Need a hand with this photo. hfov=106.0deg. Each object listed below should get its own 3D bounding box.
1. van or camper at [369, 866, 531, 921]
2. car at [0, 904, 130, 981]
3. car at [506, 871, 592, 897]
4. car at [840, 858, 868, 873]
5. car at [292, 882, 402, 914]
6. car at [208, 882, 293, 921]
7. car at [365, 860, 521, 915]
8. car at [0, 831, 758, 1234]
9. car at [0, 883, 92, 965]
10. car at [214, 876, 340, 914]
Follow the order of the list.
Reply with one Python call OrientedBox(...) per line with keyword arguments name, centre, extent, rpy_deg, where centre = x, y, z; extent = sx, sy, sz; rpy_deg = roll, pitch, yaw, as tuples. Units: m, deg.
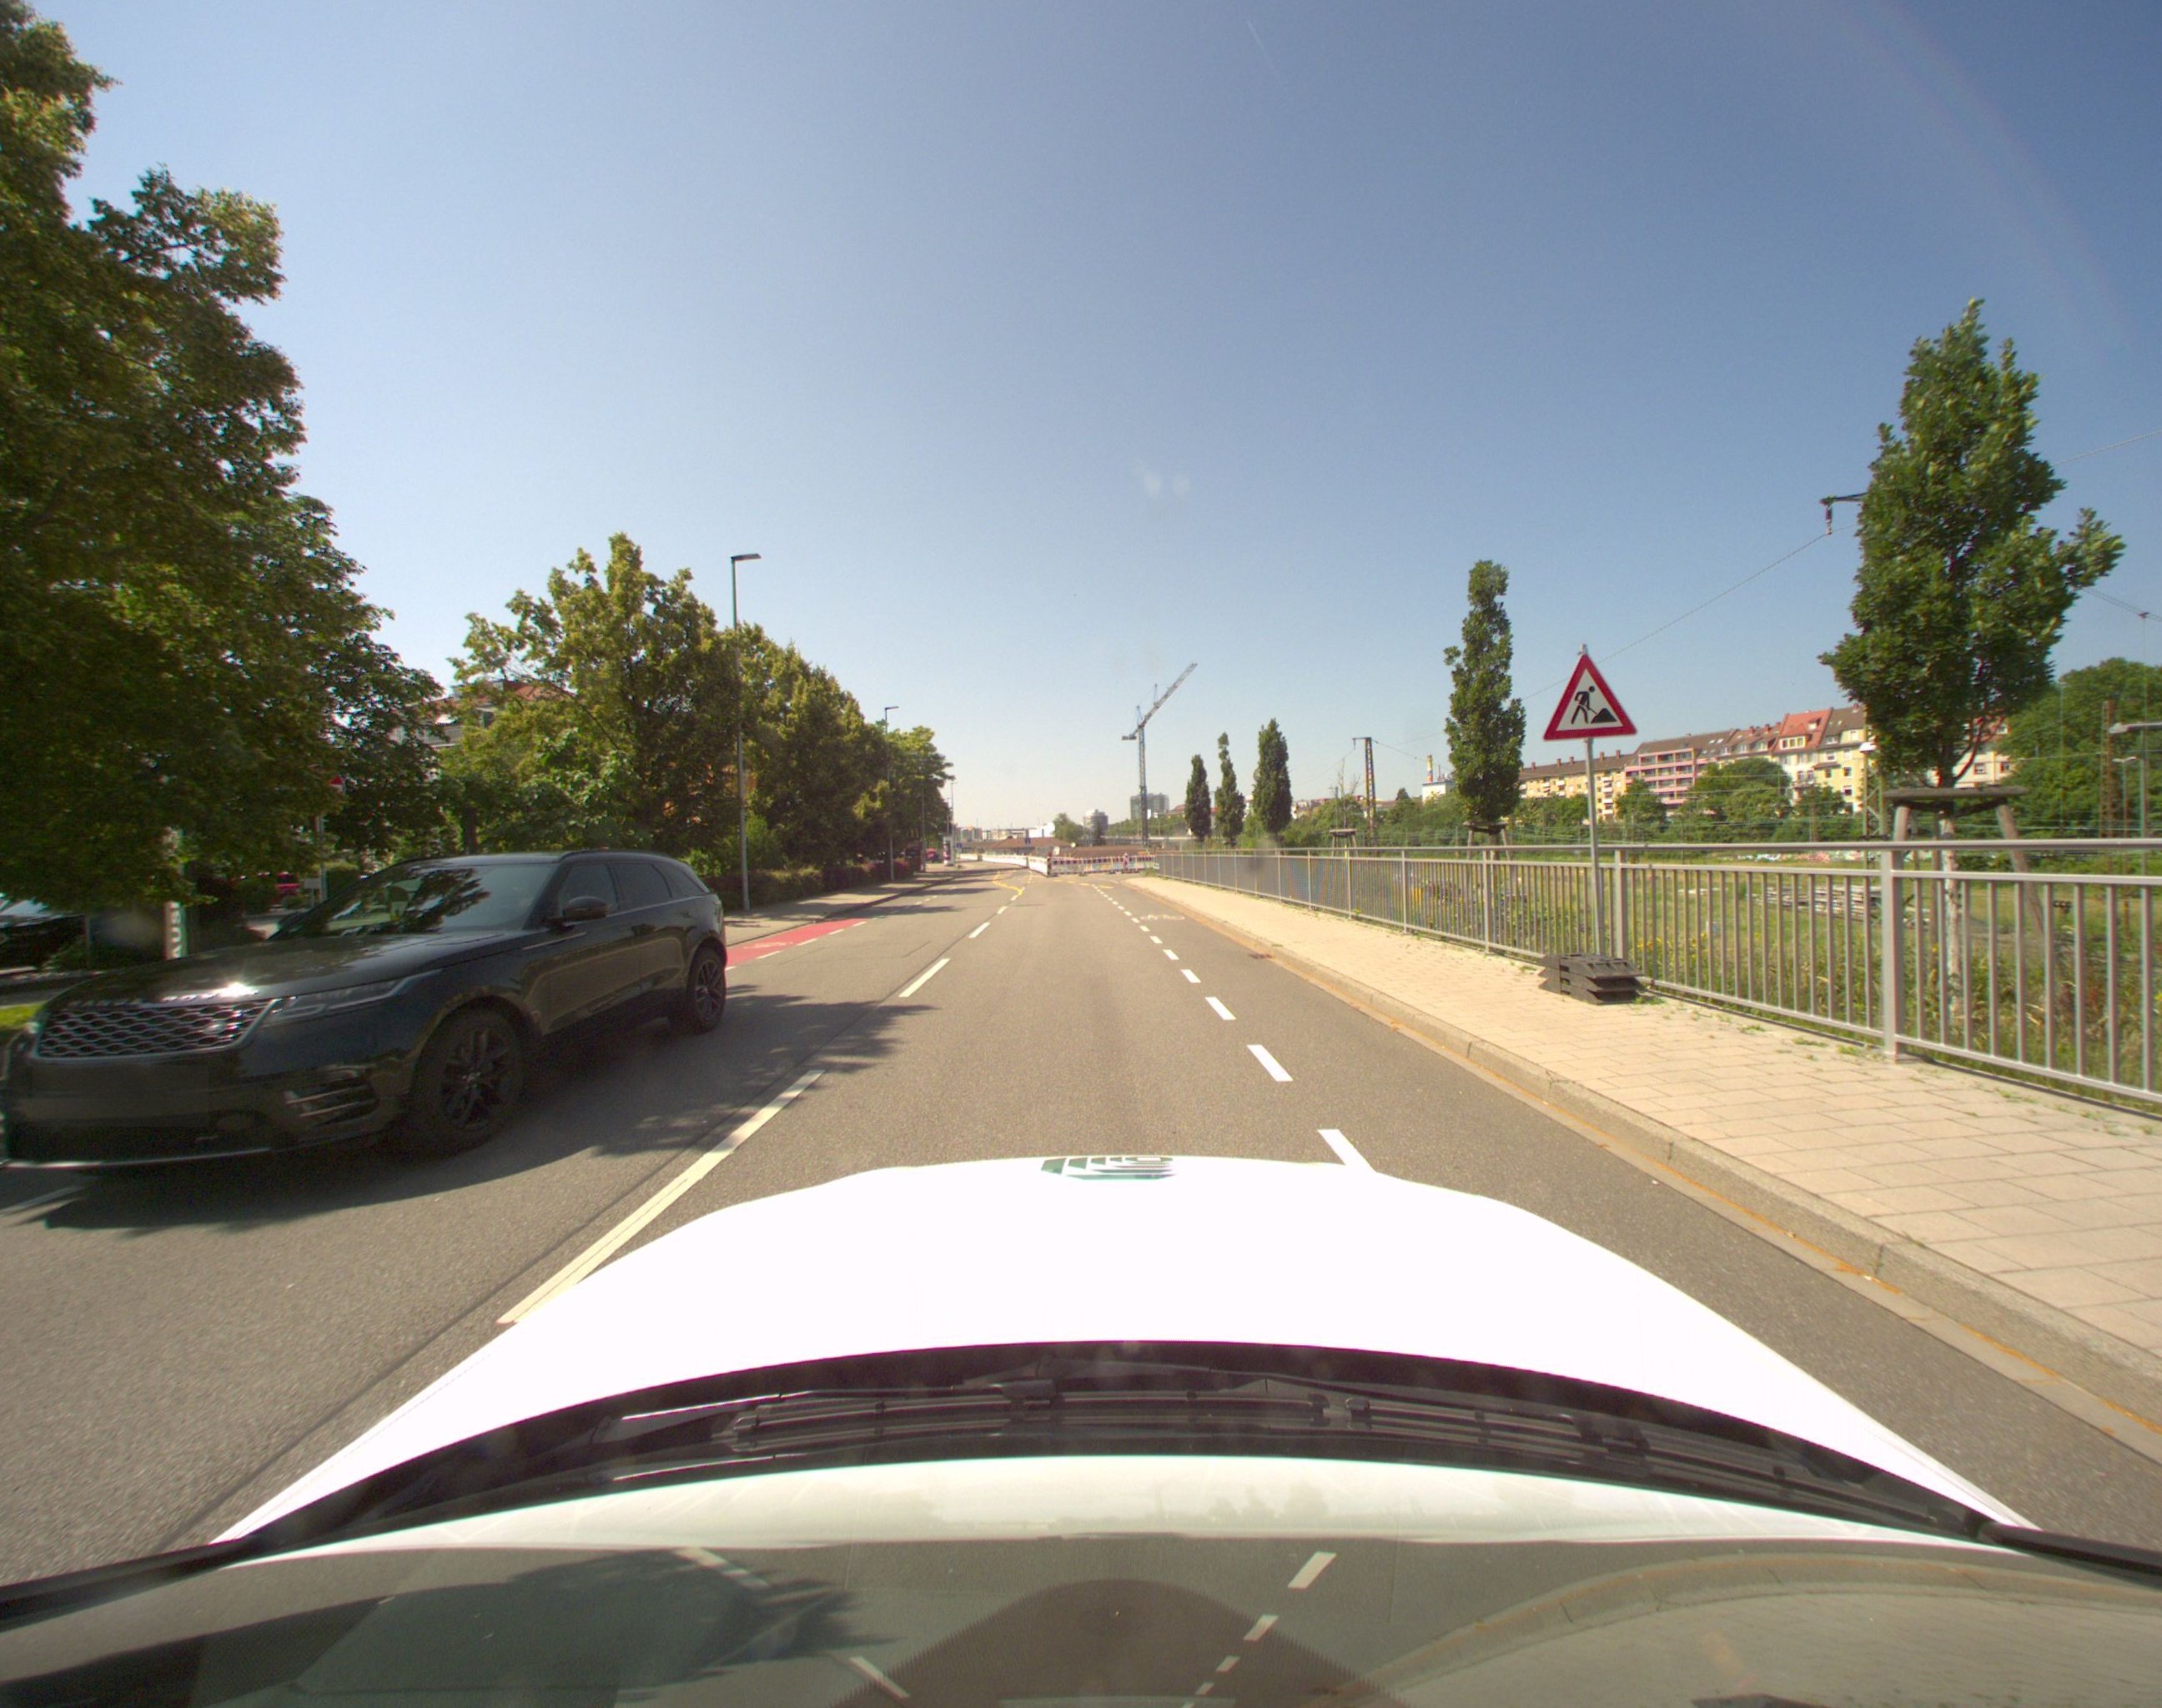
OrientedBox(name="van or camper", centre=(-23.443, 1.428, 30.476), extent=(4.285, 1.740, 1.987), rpy_deg=(-3, 1, -20))
OrientedBox(name="car", centre=(-22.010, 1.819, 17.083), extent=(1.615, 1.285, 3.958), rpy_deg=(-3, 1, -33))
OrientedBox(name="car", centre=(-34.747, 1.937, 53.353), extent=(4.285, 1.438, 1.987), rpy_deg=(-3, 1, -20))
OrientedBox(name="car", centre=(-30.664, 1.576, 109.817), extent=(2.011, 1.903, 3.951), rpy_deg=(-2, 0, -43))
OrientedBox(name="car", centre=(-38.874, 2.306, 43.242), extent=(4.007, 1.338, 1.572), rpy_deg=(-3, 1, -26))
OrientedBox(name="car", centre=(-35.190, 2.002, 34.487), extent=(3.390, 1.526, 1.511), rpy_deg=(-2, 1, 27))
OrientedBox(name="car", centre=(-26.811, 1.350, 34.441), extent=(4.755, 2.013, 2.068), rpy_deg=(-3, 1, -25))
OrientedBox(name="car", centre=(-4.239, 0.762, 5.867), extent=(1.944, 1.695, 4.612), rpy_deg=(-2, 1, -1))
OrientedBox(name="car", centre=(-24.985, 1.619, 18.318), extent=(1.721, 1.735, 4.214), rpy_deg=(-3, 1, -24))
OrientedBox(name="car", centre=(-39.569, 1.993, 40.176), extent=(3.993, 1.598, 1.790), rpy_deg=(-3, 0, -14))
